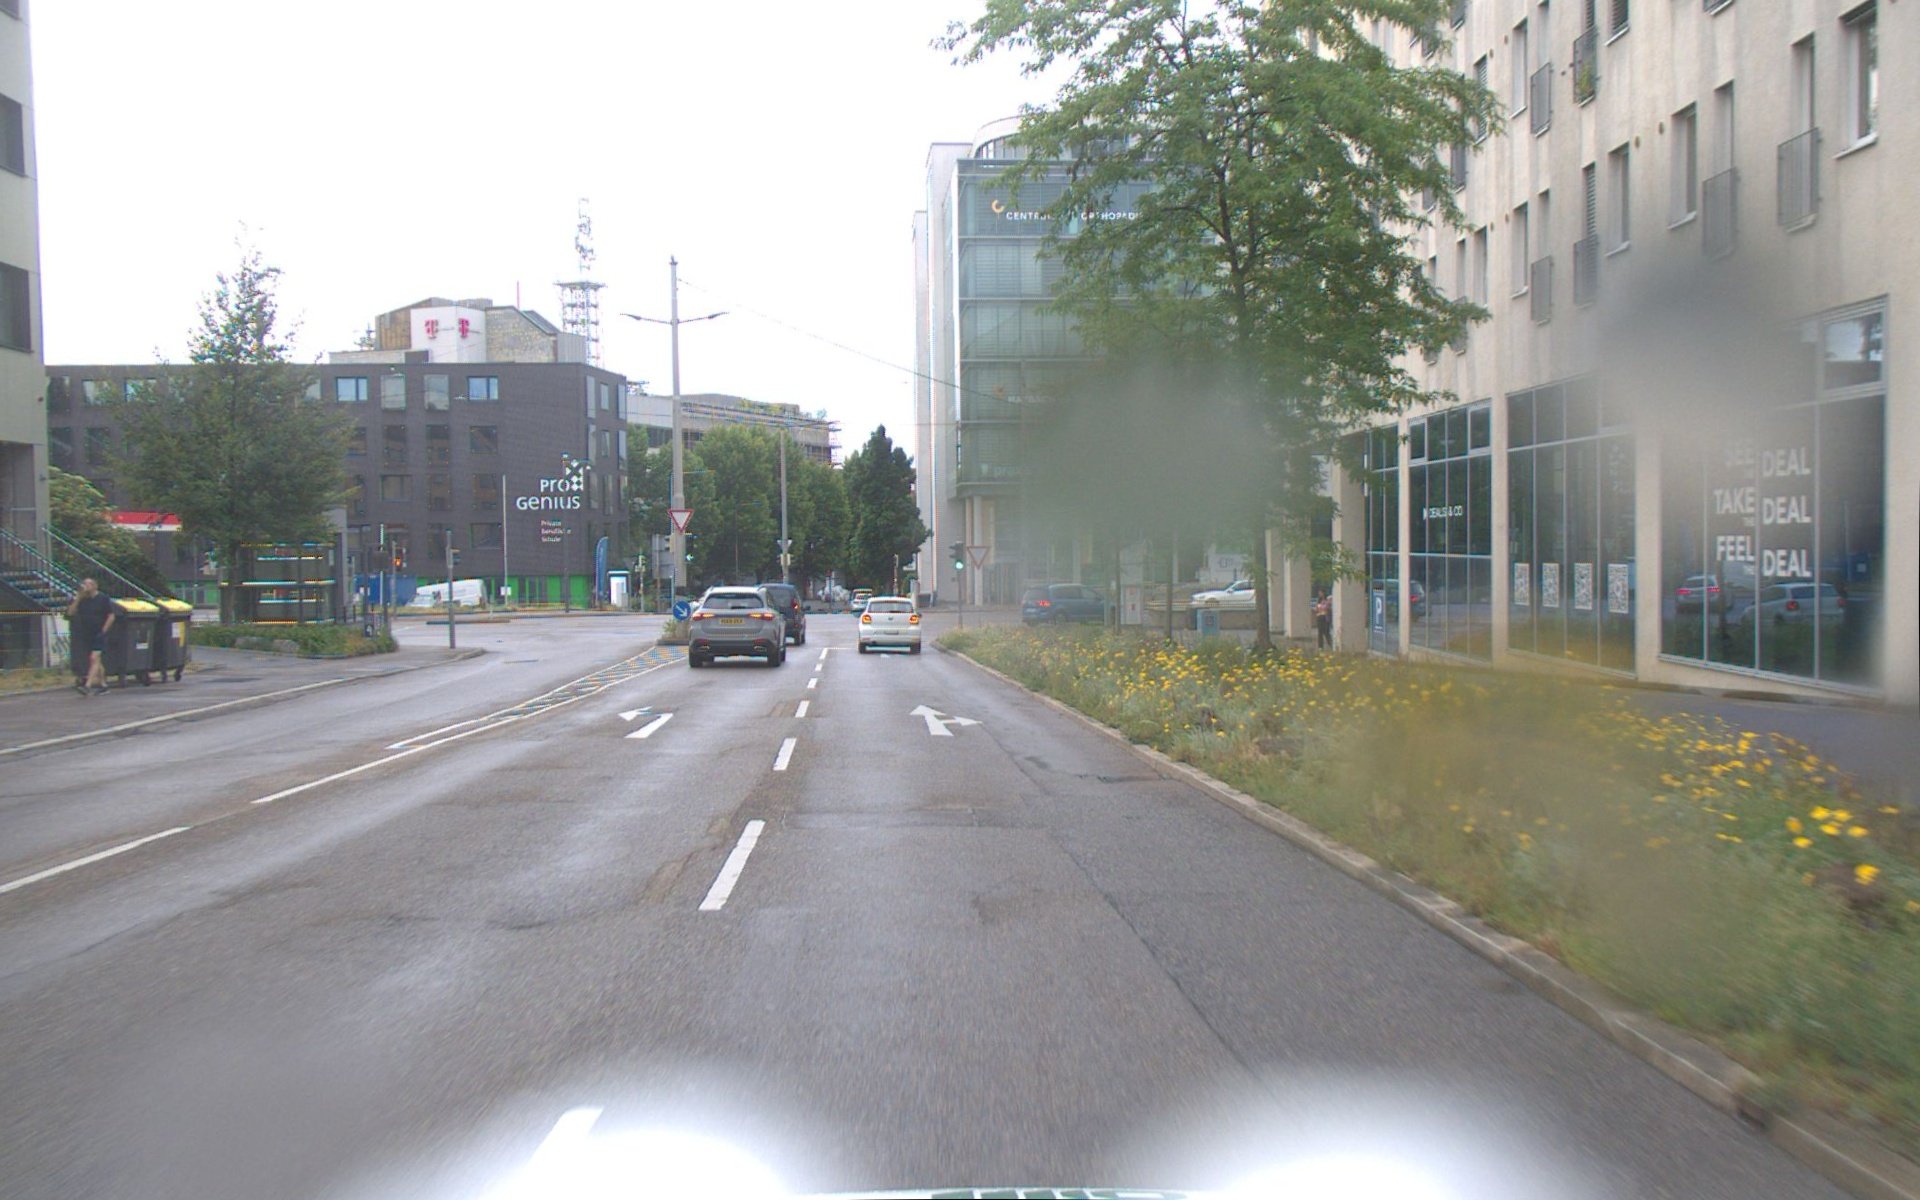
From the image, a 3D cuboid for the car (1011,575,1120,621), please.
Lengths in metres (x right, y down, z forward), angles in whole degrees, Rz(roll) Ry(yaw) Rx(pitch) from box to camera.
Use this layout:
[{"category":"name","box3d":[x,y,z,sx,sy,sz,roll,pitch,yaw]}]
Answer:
[{"category":"car","box3d":[4.160,-0.106,64.924,3.958,1.601,1.974,-3,3,-37]}]

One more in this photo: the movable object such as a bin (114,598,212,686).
[{"category":"movable object such as a bin","box3d":[-13.781,0.707,28.646,1.033,1.470,1.357,1,0,-2]}]

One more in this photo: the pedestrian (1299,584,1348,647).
[{"category":"pedestrian","box3d":[10.355,0.426,47.166,1.076,1.742,0.864,0,2,-36]}]

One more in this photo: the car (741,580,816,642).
[{"category":"car","box3d":[-5.675,0.320,51.395,1.820,1.799,4.117,-2,0,-13]}]

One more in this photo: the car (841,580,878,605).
[{"category":"car","box3d":[-7.308,-0.541,119.804,1.960,1.747,3.986,1,0,-14]}]

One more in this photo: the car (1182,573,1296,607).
[{"category":"car","box3d":[12.731,-0.473,75.715,4.851,1.411,1.821,-1,2,-6]}]

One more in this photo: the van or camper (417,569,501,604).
[{"category":"van or camper","box3d":[-36.076,-0.956,119.225,5.225,2.410,2.736,1,0,-5]}]

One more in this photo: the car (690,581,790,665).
[{"category":"car","box3d":[-4.606,0.441,35.106,1.871,1.660,4.206,0,0,-5]}]

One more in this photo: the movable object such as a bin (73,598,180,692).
[{"category":"movable object such as a bin","box3d":[-13.698,0.723,27.222,1.033,1.470,1.430,1,0,-2]}]

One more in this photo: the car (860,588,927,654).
[{"category":"car","box3d":[-1.820,0.520,44.392,1.638,1.499,3.777,-1,3,-5]}]

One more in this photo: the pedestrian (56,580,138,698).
[{"category":"pedestrian","box3d":[-13.172,0.586,25.259,0.740,1.762,0.942,1,0,-1]}]
